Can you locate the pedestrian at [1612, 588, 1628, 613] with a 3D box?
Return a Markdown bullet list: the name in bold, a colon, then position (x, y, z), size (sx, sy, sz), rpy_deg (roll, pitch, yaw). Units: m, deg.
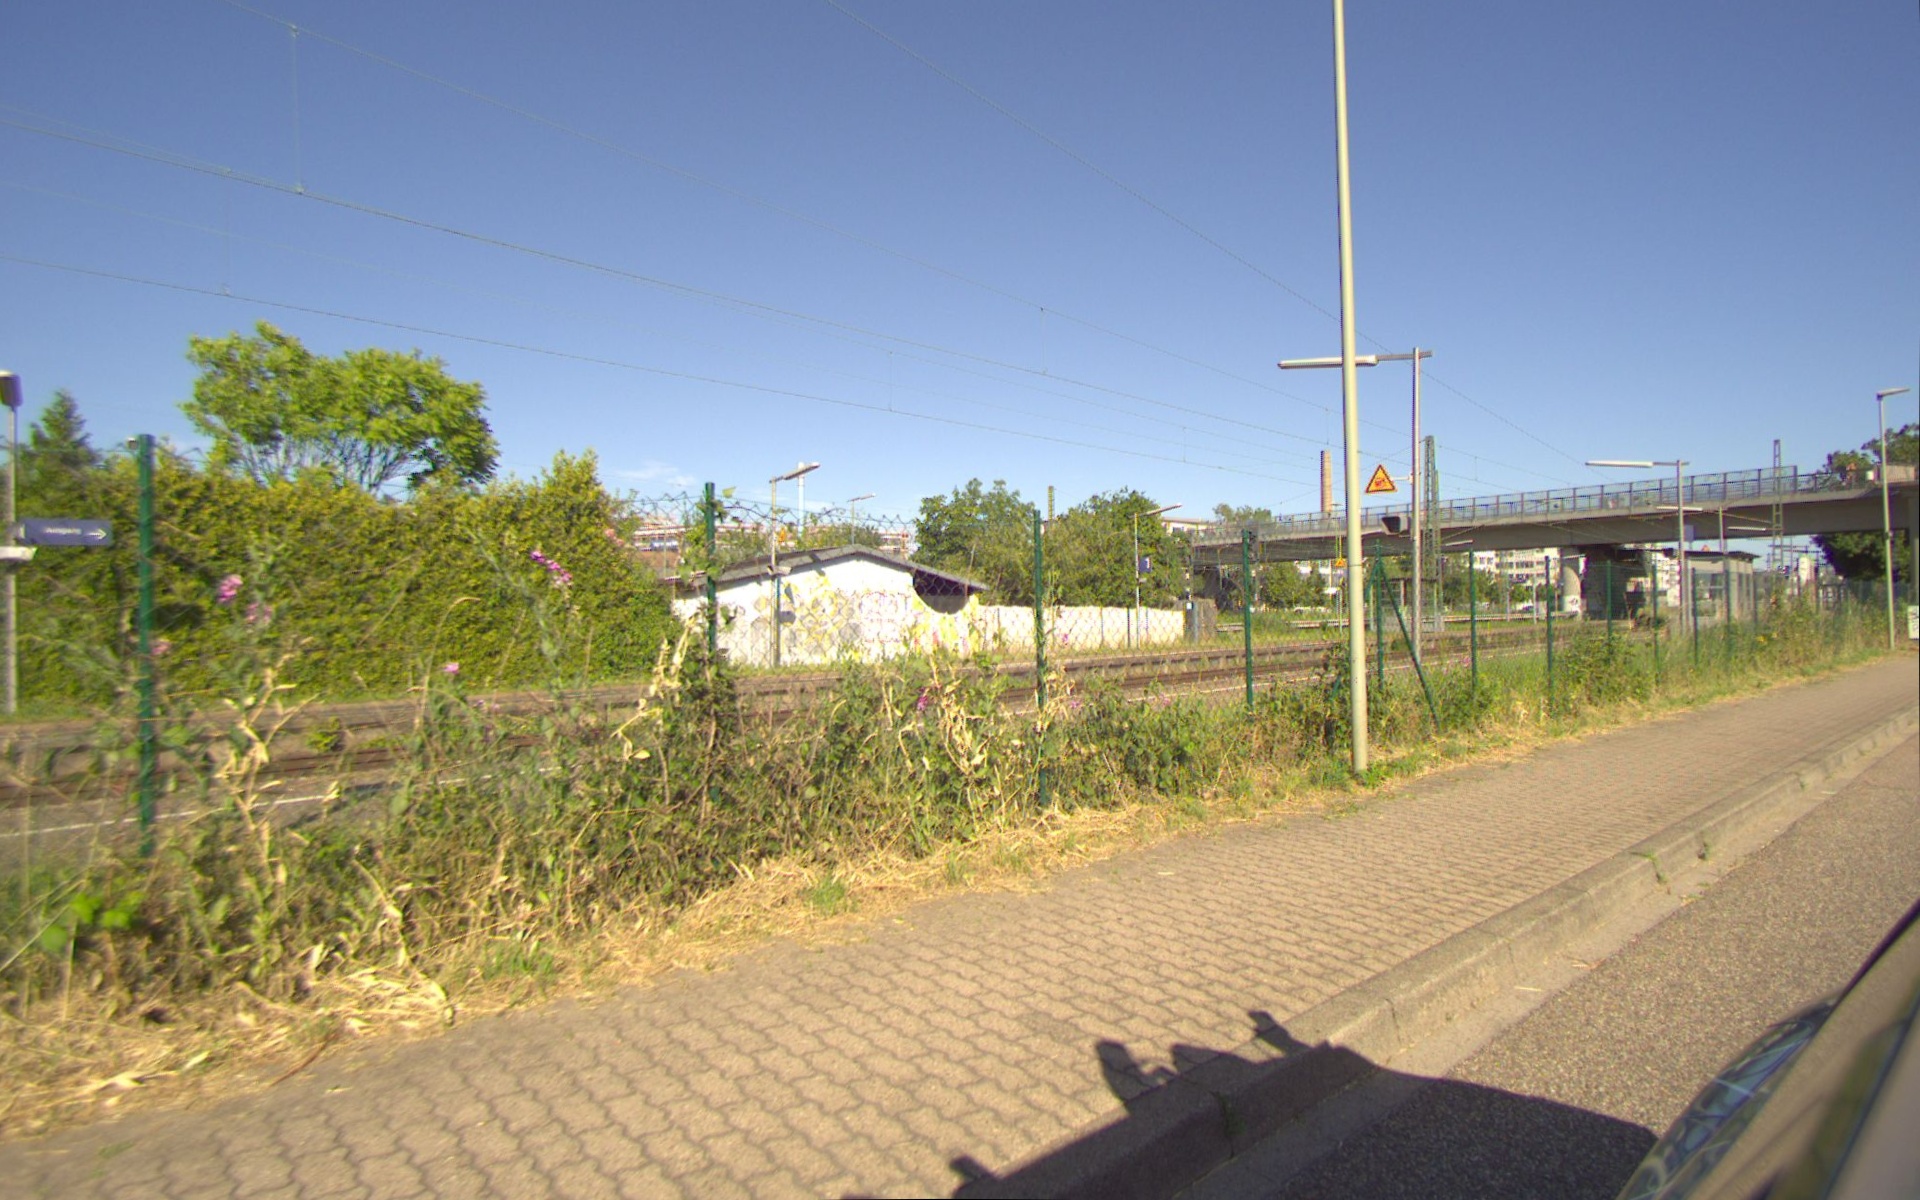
- **pedestrian**: position (54.294, 0.012, 83.271), size (0.822, 2.039, 0.894), rpy_deg (0, -1, -43)
